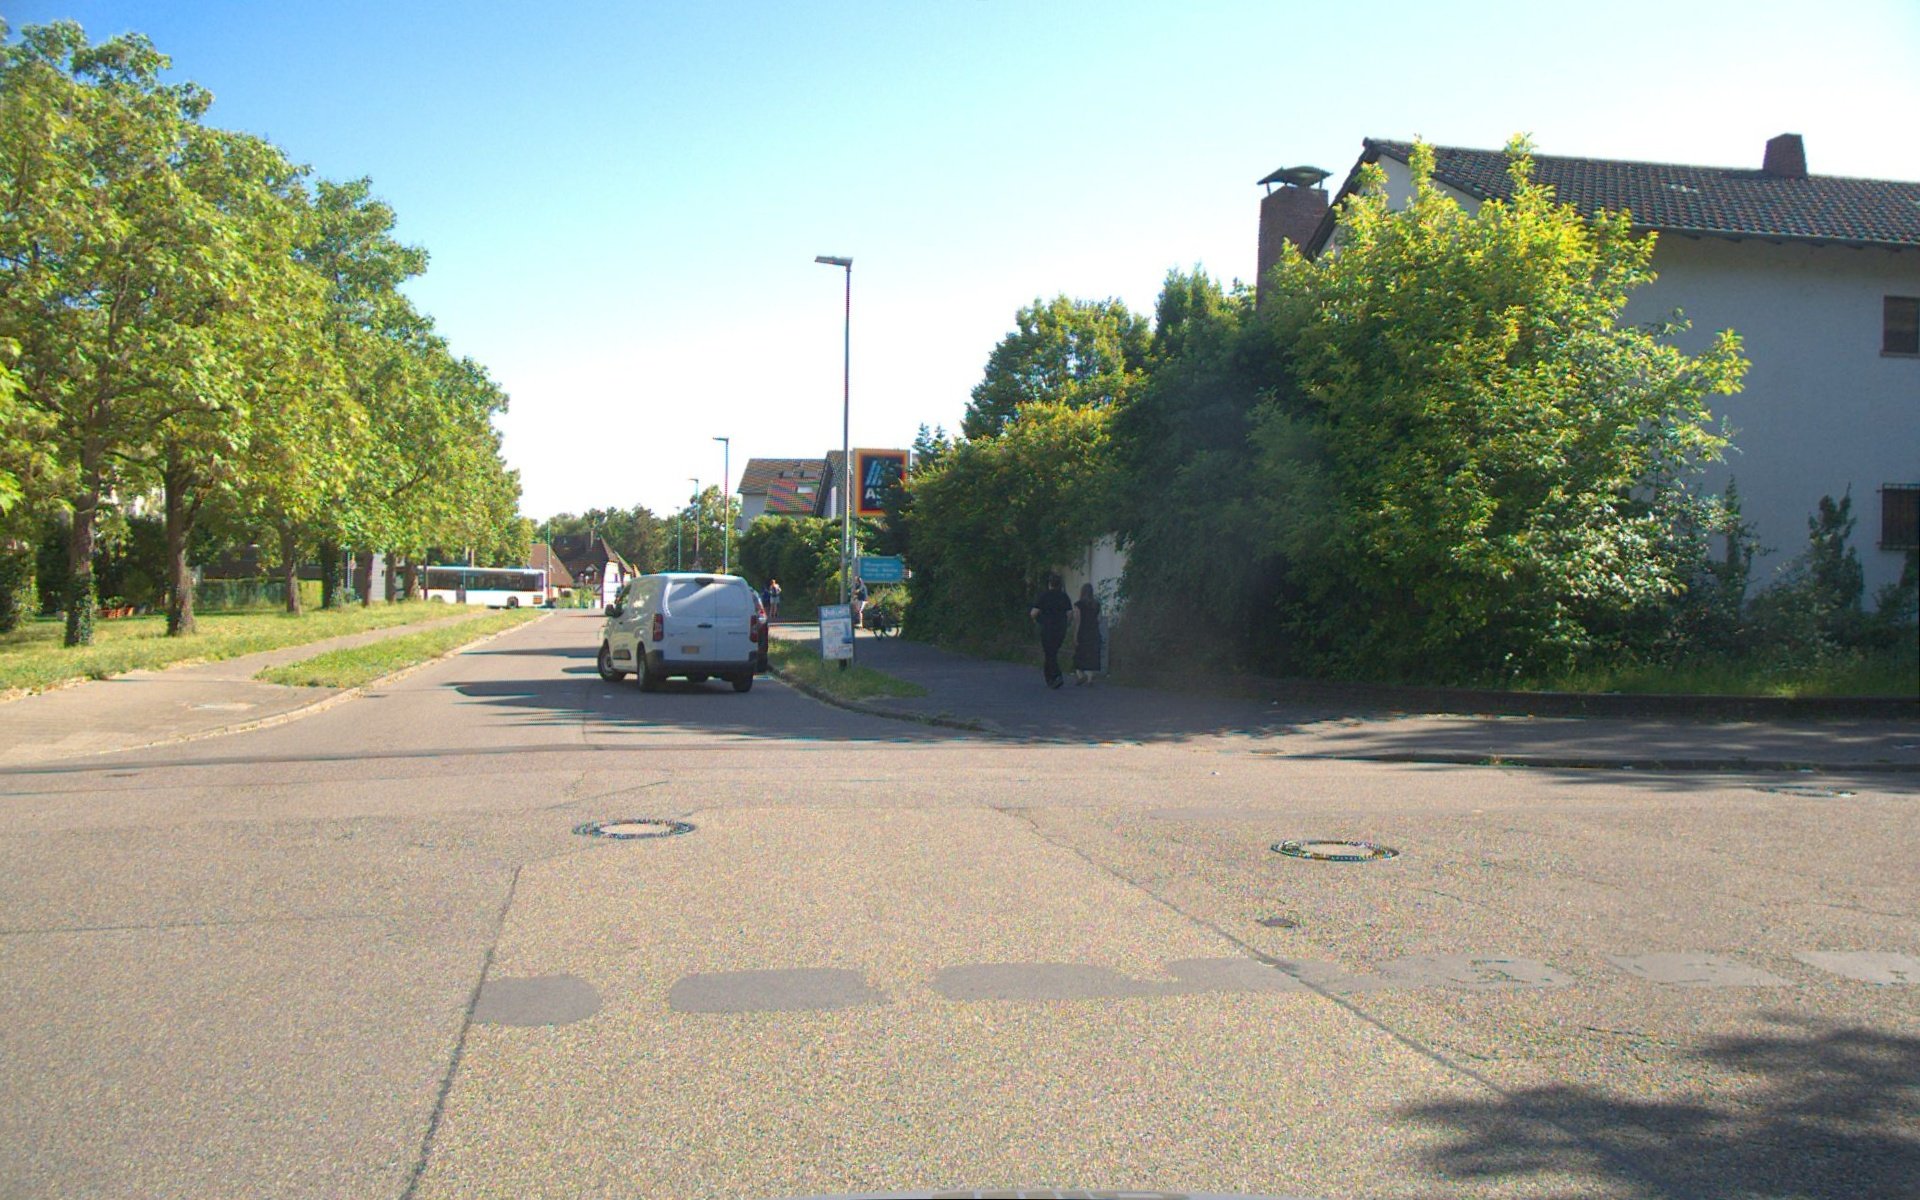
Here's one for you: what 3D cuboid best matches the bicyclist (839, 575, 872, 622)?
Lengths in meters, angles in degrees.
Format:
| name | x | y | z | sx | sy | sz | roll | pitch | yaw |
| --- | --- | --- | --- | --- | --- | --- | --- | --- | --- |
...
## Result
| name | x | y | z | sx | sy | sz | roll | pitch | yaw |
| --- | --- | --- | --- | --- | --- | --- | --- | --- | --- |
| bicyclist | -3.592 | -0.046 | 56.775 | 0.948 | 1.612 | 0.904 | 0 | -2 | -18 |

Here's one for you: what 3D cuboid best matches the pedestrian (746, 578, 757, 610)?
| name | x | y | z | sx | sy | sz | roll | pitch | yaw |
| --- | --- | --- | --- | --- | --- | --- | --- | --- | --- |
| pedestrian | -10.796 | -0.306 | 85.709 | 0.556 | 1.665 | 0.546 | 0 | 0 | -7 |

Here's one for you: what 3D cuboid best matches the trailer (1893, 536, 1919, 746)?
| name | x | y | z | sx | sy | sz | roll | pitch | yaw |
| --- | --- | --- | --- | --- | --- | --- | --- | --- | --- |
| trailer | 11.938 | 0.424 | 16.813 | 3.991 | 2.156 | 1.972 | 0 | 1 | -13 |

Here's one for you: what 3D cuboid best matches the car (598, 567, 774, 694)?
| name | x | y | z | sx | sy | sz | roll | pitch | yaw |
| --- | --- | --- | --- | --- | --- | --- | --- | --- | --- |
| car | -4.607 | 0.453 | 27.301 | 1.966 | 1.915 | 4.259 | 0 | 0 | -23 |

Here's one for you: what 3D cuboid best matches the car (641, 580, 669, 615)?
| name | x | y | z | sx | sy | sz | roll | pitch | yaw |
| --- | --- | --- | --- | --- | --- | --- | --- | --- | --- |
| car | -23.678 | -0.180 | 128.353 | 1.834 | 2.607 | 4.751 | 2 | -1 | -13 |

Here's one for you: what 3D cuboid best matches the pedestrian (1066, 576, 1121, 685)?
| name | x | y | z | sx | sy | sz | roll | pitch | yaw |
| --- | --- | --- | --- | --- | --- | --- | --- | --- | --- |
| pedestrian | 2.044 | 0.462 | 25.341 | 0.563 | 1.637 | 0.789 | -1 | -1 | -15 |

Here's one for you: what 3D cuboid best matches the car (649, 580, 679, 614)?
| name | x | y | z | sx | sy | sz | roll | pitch | yaw |
| --- | --- | --- | --- | --- | --- | --- | --- | --- | --- |
| car | -17.087 | -0.168 | 95.415 | 1.693 | 1.869 | 3.990 | 1 | 0 | -11 |

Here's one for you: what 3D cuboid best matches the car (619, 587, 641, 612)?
| name | x | y | z | sx | sy | sz | roll | pitch | yaw |
| --- | --- | --- | --- | --- | --- | --- | --- | --- | --- |
| car | -29.224 | -0.042 | 146.460 | 1.773 | 2.105 | 3.986 | 3 | -1 | -13 |

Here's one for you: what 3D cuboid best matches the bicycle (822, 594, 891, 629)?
| name | x | y | z | sx | sy | sz | roll | pitch | yaw |
| --- | --- | --- | --- | --- | --- | --- | --- | --- | --- |
| bicycle | -3.564 | 0.388 | 56.778 | 2.238 | 1.158 | 0.785 | -1 | -1 | -19 |

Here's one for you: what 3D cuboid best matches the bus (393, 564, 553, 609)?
| name | x | y | z | sx | sy | sz | roll | pitch | yaw |
| --- | --- | --- | --- | --- | --- | --- | --- | --- | --- |
| bus | -32.101 | -0.845 | 109.632 | 2.988 | 2.874 | 10.547 | 0 | 0 | 37 |

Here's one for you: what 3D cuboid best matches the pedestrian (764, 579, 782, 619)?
| name | x | y | z | sx | sy | sz | roll | pitch | yaw |
| --- | --- | --- | --- | --- | --- | --- | --- | --- | --- |
| pedestrian | -8.623 | -0.047 | 76.478 | 0.782 | 1.813 | 0.808 | 0 | 0 | -4 |

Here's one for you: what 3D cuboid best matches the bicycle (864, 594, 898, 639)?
| name | x | y | z | sx | sy | sz | roll | pitch | yaw |
| --- | --- | --- | --- | --- | --- | --- | --- | --- | --- |
| bicycle | -2.226 | 0.465 | 46.672 | 0.705 | 1.242 | 1.897 | -2 | -1 | 4 |

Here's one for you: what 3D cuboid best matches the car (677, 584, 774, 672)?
| name | x | y | z | sx | sy | sz | roll | pitch | yaw |
| --- | --- | --- | --- | --- | --- | --- | --- | --- | --- |
| car | -4.878 | 0.525 | 33.978 | 1.694 | 1.685 | 4.340 | 0 | 1 | -12 |

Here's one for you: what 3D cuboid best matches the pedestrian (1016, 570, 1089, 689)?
| name | x | y | z | sx | sy | sz | roll | pitch | yaw |
| --- | --- | --- | --- | --- | --- | --- | --- | --- | --- |
| pedestrian | 1.389 | 0.449 | 25.055 | 0.790 | 1.747 | 0.980 | -1 | -1 | -15 |
